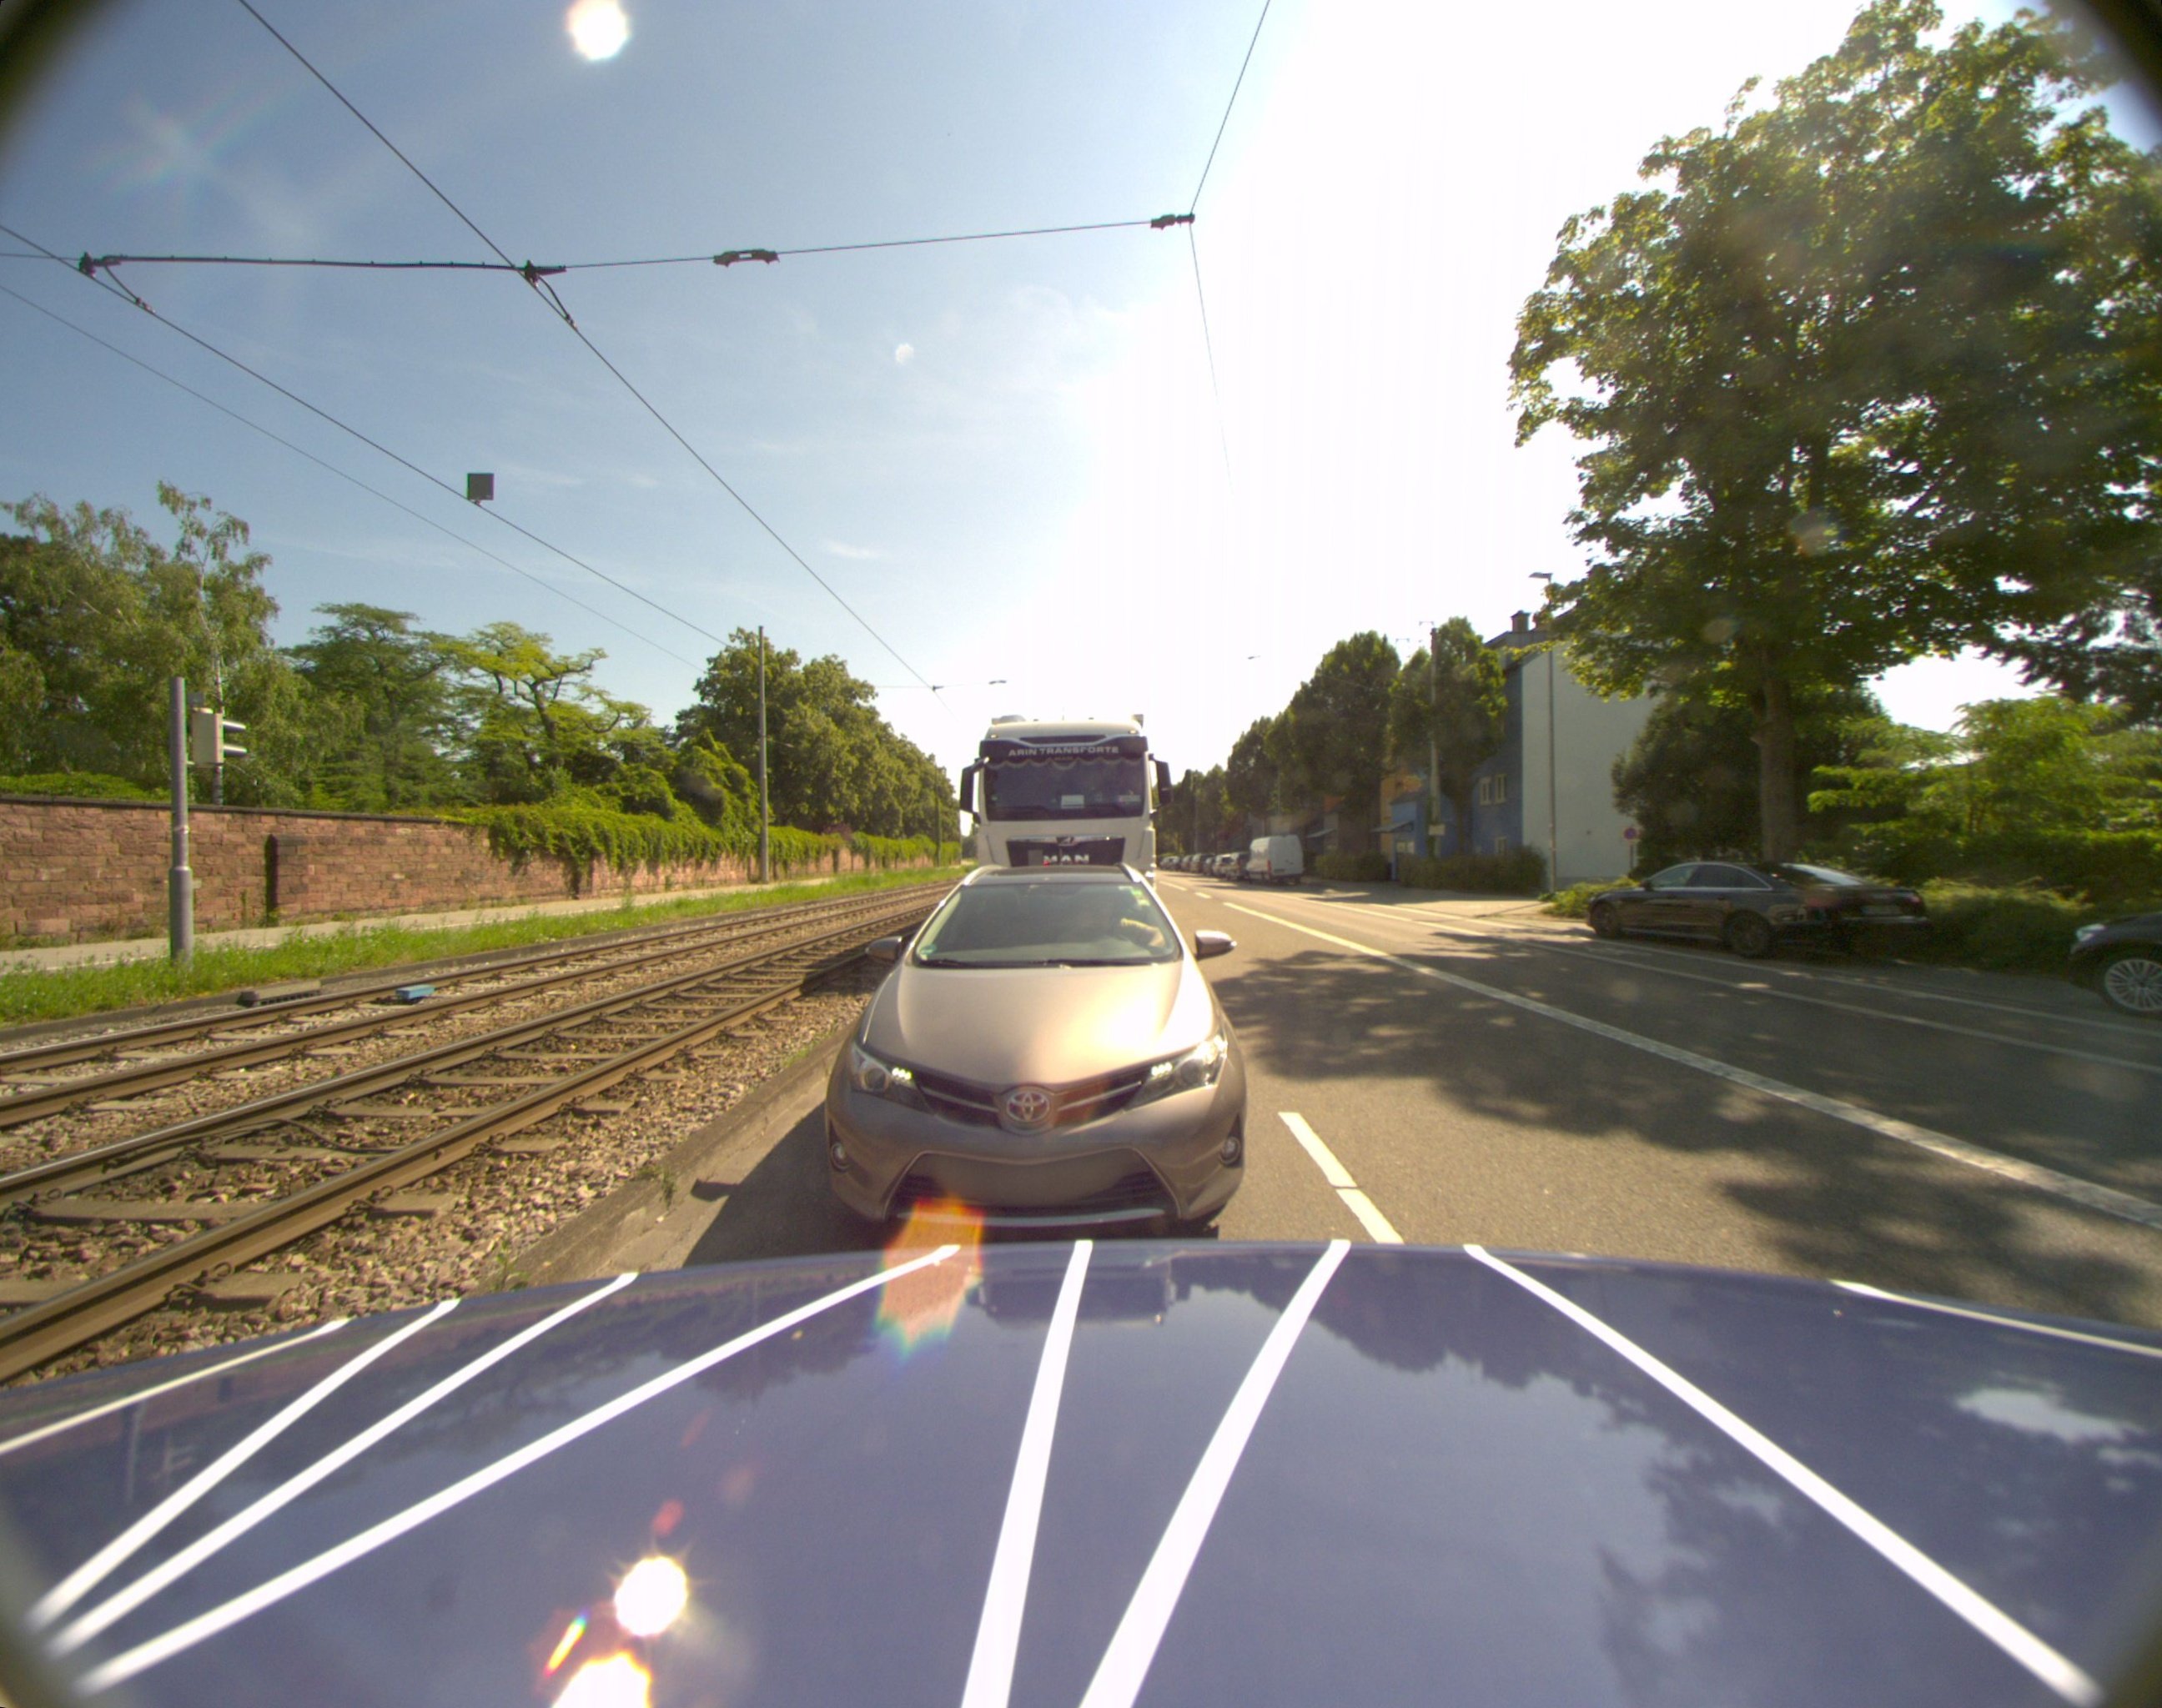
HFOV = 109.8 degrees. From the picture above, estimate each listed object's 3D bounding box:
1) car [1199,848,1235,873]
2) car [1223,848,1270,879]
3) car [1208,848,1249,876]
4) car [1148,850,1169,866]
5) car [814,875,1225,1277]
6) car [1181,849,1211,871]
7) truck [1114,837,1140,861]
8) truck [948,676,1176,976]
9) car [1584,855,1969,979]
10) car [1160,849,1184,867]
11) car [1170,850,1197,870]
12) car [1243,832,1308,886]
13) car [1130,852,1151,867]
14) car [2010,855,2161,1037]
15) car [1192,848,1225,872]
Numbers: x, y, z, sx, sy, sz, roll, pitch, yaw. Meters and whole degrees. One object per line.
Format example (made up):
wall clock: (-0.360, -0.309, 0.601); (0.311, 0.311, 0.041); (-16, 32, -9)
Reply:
car: (11.222, 0.548, 62.869); (1.998, 1.795, 4.256); (-6, 0, 0)
car: (11.138, 0.637, 51.453); (1.998, 1.795, 4.769); (-6, 0, 0)
car: (11.080, 0.580, 57.386); (1.998, 1.795, 4.769); (-6, 0, 0)
car: (9.878, 0.484, 96.857); (1.998, 1.795, 4.769); (-6, 0, 0)
car: (-0.211, 0.912, 4.921); (1.573, 1.422, 4.000); (0, 0, 1)
car: (11.021, 0.561, 73.384); (1.998, 1.795, 4.769); (-6, 0, 0)
truck: (6.982, -0.669, 116.113); (2.704, 3.263, 6.724); (-6, 0, -5)
truck: (-0.146, -0.377, 17.249); (2.935, 3.856, 14.912); (0, 0, 1)
car: (10.562, 0.825, 12.166); (1.868, 1.562, 4.621); (-1, 0, -2)
car: (10.256, 0.479, 85.917); (1.998, 1.795, 4.769); (-6, 0, 0)
car: (10.630, 0.630, 79.174); (1.998, 1.795, 4.769); (-6, 0, 0)
car: (10.910, 0.252, 43.157); (1.998, 2.678, 6.214); (-6, 0, 2)
car: (8.276, 0.802, 105.576); (1.999, 1.795, 5.111); (-6, 0, -4)
car: (10.587, 0.825, 5.576); (1.868, 1.562, 4.621); (-2, 0, 0)
car: (11.290, 0.505, 67.681); (1.998, 1.795, 4.769); (-6, 0, 0)
